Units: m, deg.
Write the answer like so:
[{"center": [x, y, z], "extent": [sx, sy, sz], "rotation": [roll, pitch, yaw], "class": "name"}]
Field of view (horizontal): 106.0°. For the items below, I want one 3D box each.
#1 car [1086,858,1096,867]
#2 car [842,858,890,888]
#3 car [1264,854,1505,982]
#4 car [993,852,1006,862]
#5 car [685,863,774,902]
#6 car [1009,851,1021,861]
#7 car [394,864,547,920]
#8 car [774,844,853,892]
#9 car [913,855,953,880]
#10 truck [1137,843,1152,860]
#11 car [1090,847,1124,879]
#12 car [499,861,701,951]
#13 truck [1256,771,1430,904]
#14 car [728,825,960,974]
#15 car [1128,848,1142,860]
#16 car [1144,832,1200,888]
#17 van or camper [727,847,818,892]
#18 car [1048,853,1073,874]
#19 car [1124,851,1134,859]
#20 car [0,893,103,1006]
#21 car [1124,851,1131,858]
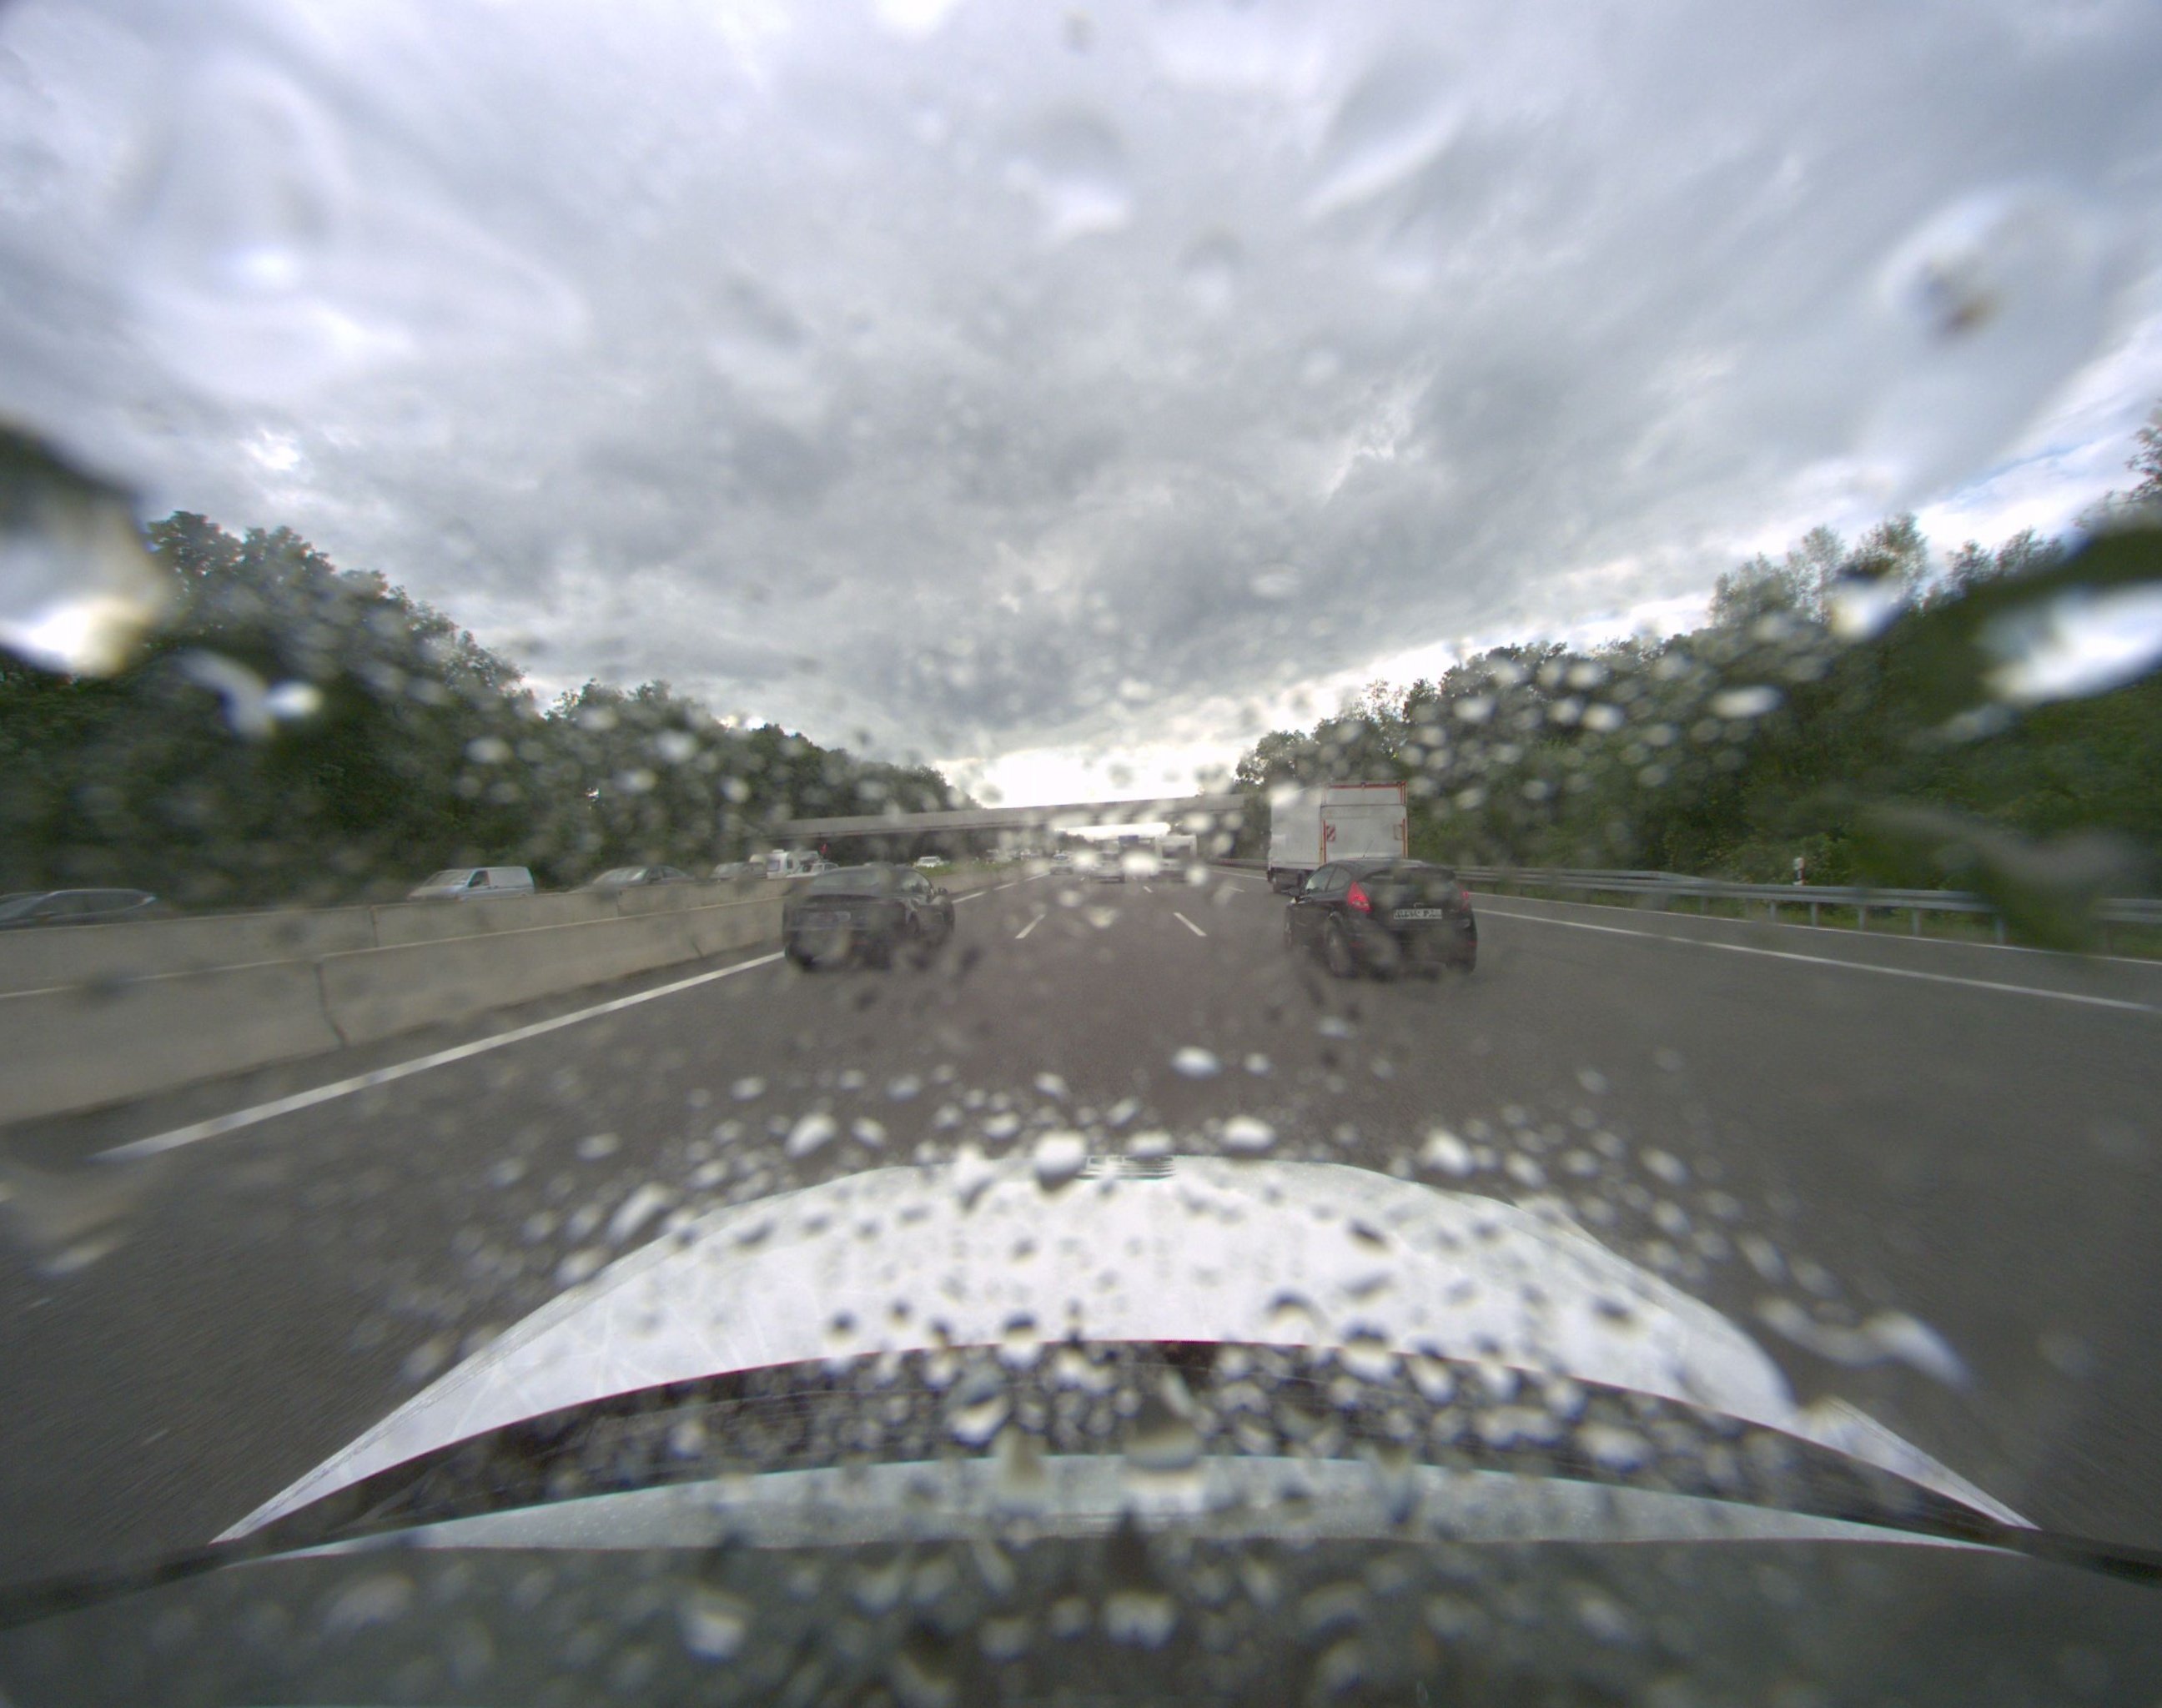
[{"center": [1.797, 1.422, 144.399], "extent": [1.774, 1.481, 4.354], "rotation": [-1, 0, 1], "class": "car"}, {"center": [-15.729, 1.367, 59.789], "extent": [2.036, 2.013, 4.790], "rotation": [-1, 0, 2], "class": "car"}, {"center": [3.927, 0.721, 11.381], "extent": [1.878, 1.407, 4.284], "rotation": [-1, 0, 2], "class": "car"}, {"center": [-17.502, 0.624, 175.730], "extent": [2.212, 1.952, 4.830], "rotation": [-1, 0, 2], "class": "car"}, {"center": [-20.228, 1.593, 47.178], "extent": [2.596, 1.952, 5.509], "rotation": [-1, 0, 2], "class": "car"}, {"center": [-14.002, 0.362, 172.731], "extent": [1.987, 2.013, 4.000], "rotation": [-1, 0, 0], "class": "car"}, {"center": [-23.992, 1.420, 32.341], "extent": [1.986, 1.952, 5.227], "rotation": [-1, 0, 2], "class": "car"}, {"center": [-13.075, 0.637, 40.238], "extent": [1.986, 2.181, 5.291], "rotation": [-1, 0, 2], "class": "car"}, {"center": [-11.536, 1.044, 64.004], "extent": [1.986, 1.850, 5.227], "rotation": [-1, 0, 2], "class": "car"}, {"center": [14.586, -0.675, 187.563], "extent": [2.895, 3.810, 7.277], "rotation": [-1, 0, 2], "class": "truck"}, {"center": [1.495, 0.482, 46.104], "extent": [1.774, 1.716, 4.355], "rotation": [-1, 0, 2], "class": "car"}, {"center": [-12.225, 1.217, 21.240], "extent": [1.986, 1.952, 5.227], "rotation": [-1, 0, 2], "class": "car"}, {"center": [8.495, -0.476, 28.029], "extent": [3.121, 3.709, 9.853], "rotation": [-1, 0, 2], "class": "truck"}, {"center": [-3.344, 0.555, 12.746], "extent": [1.986, 1.820, 5.164], "rotation": [-1, 0, 1], "class": "car"}, {"center": [8.957, -0.036, 135.348], "extent": [2.036, 1.823, 4.906], "rotation": [-1, 0, 2], "class": "car"}, {"center": [5.146, 0.308, 47.272], "extent": [2.558, 2.895, 7.535], "rotation": [-1, 0, 1], "class": "car"}, {"center": [-20.079, 0.924, 53.568], "extent": [2.595, 2.706, 8.128], "rotation": [-1, 0, 2], "class": "van or camper"}, {"center": [-1.671, 0.766, 69.369], "extent": [1.808, 1.689, 4.854], "rotation": [-2, 0, 2], "class": "car"}, {"center": [10.510, 0.201, 177.692], "extent": [2.036, 1.823, 4.906], "rotation": [-1, 0, 2], "class": "car"}, {"center": [-21.030, 1.840, 14.706], "extent": [1.810, 2.013, 4.002], "rotation": [-1, 0, 2], "class": "car"}, {"center": [13.695, 0.104, 241.543], "extent": [2.035, 1.823, 4.907], "rotation": [-1, 0, 3], "class": "car"}]
